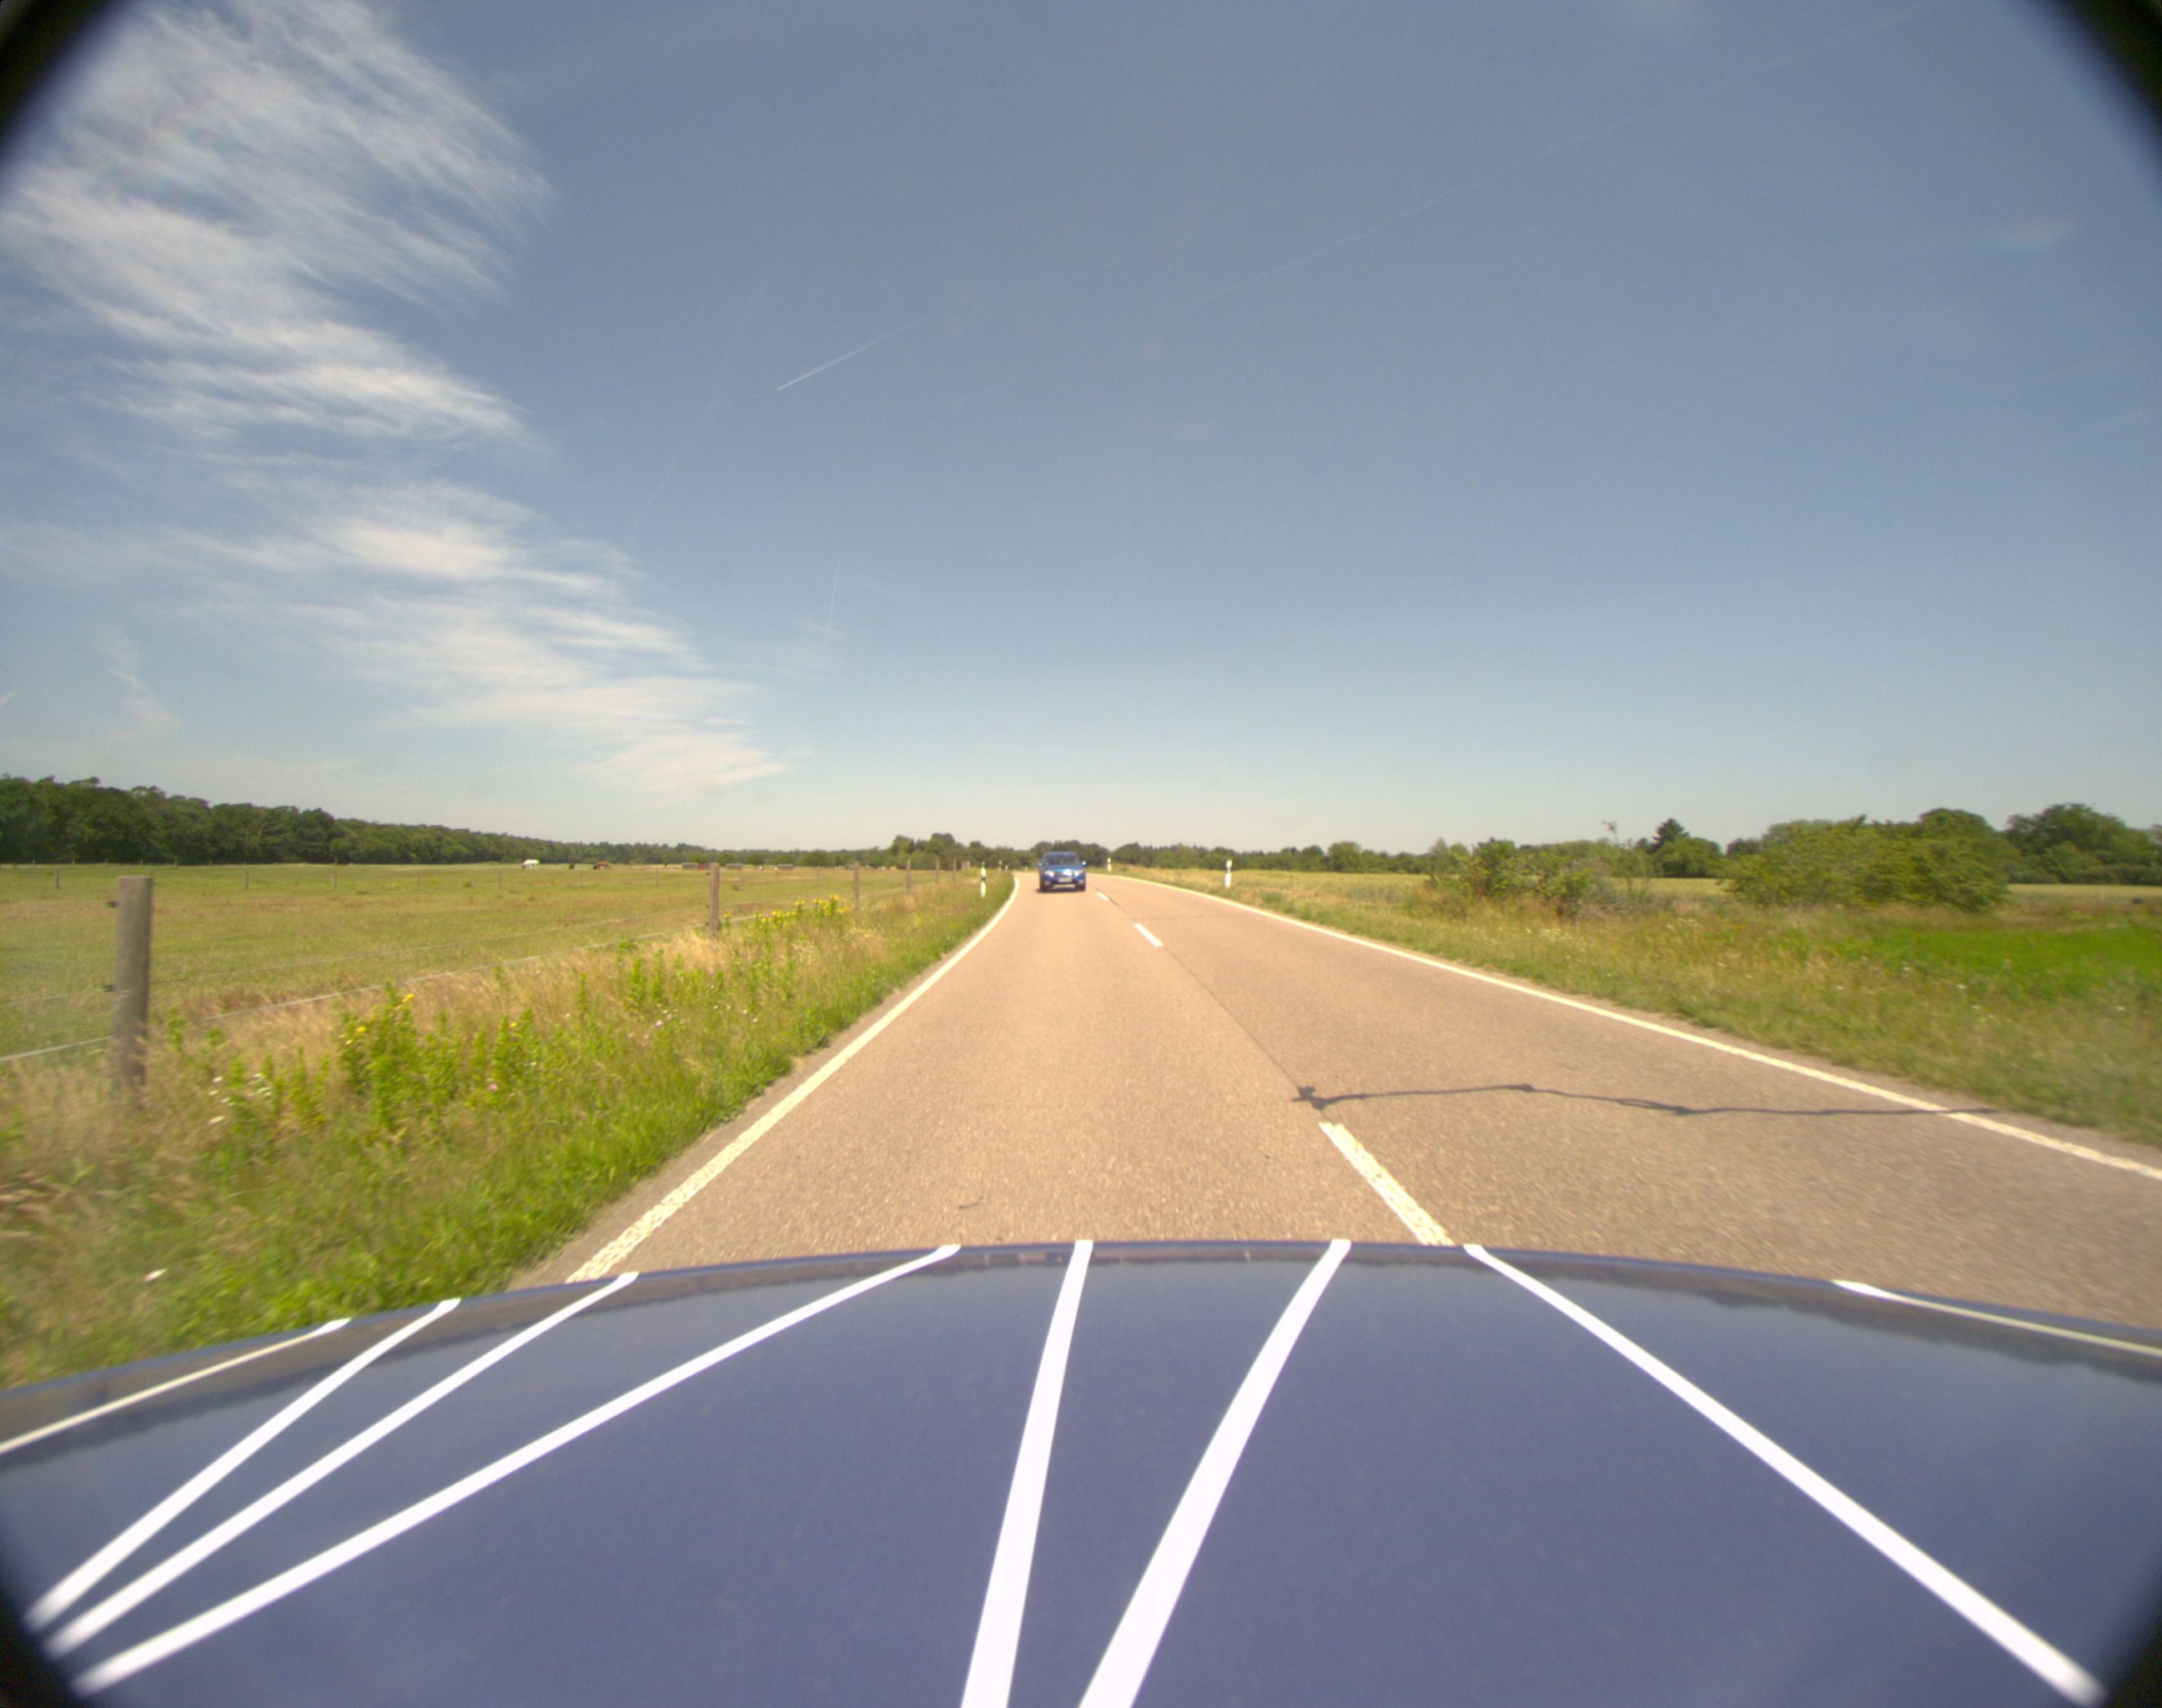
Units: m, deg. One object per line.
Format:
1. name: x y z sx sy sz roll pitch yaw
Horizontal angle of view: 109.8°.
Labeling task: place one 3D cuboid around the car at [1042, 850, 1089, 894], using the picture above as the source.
1. car: -0.699 0.681 30.865 1.734 1.572 3.998 -2 1 -3
